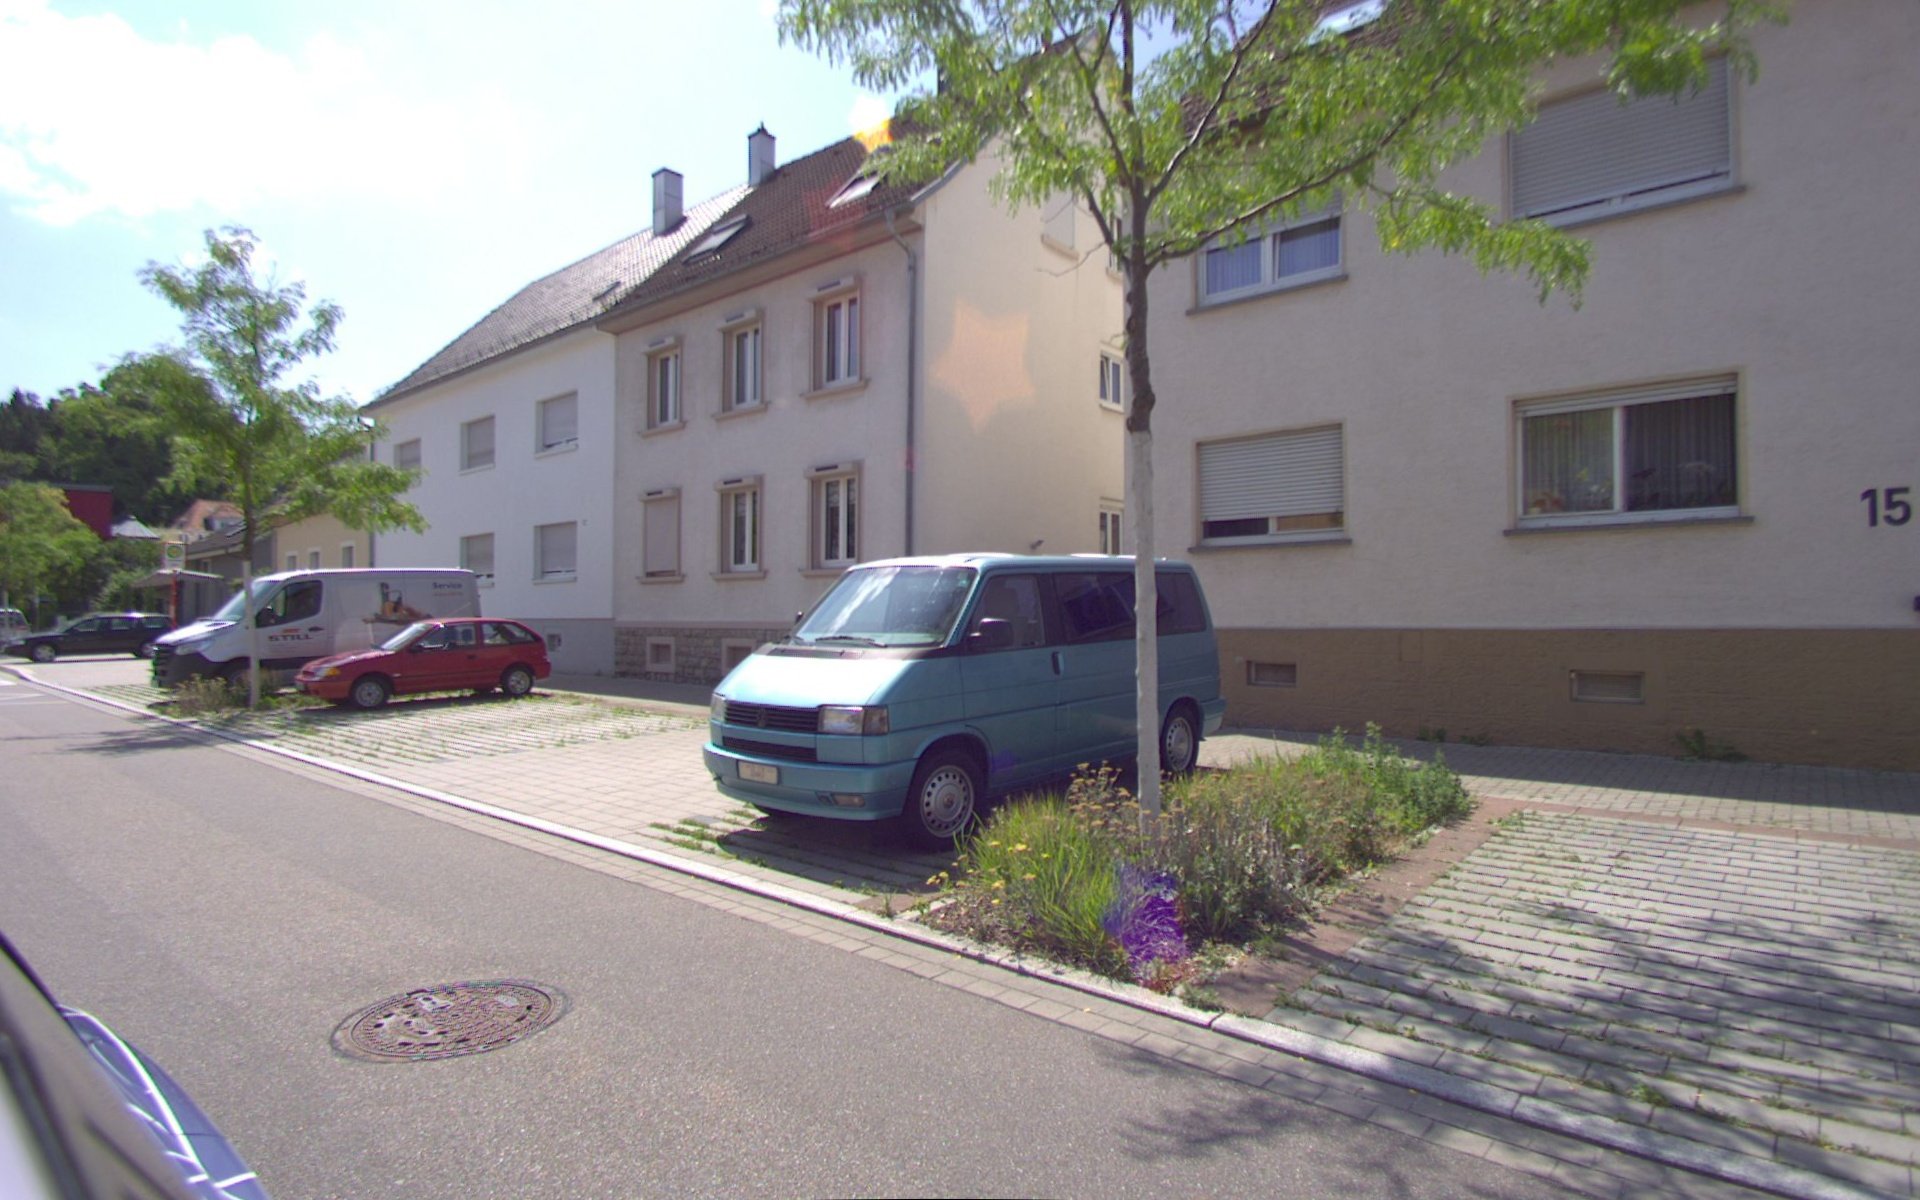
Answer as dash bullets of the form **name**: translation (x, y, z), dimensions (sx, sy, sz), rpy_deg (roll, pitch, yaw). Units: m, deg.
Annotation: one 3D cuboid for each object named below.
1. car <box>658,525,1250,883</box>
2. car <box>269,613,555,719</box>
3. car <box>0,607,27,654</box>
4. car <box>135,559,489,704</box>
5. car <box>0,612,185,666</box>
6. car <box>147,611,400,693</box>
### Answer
- **car**: translation (0.266, 0.504, 7.833), dimensions (1.999, 1.921, 4.628), rpy_deg (0, 1, 41)
- **car**: translation (-8.826, 0.968, 16.519), dimensions (1.725, 1.396, 3.743), rpy_deg (0, 1, 41)
- **car**: translation (-38.190, 1.233, 39.804), dimensions (4.685, 1.760, 1.819), rpy_deg (-2, 0, 43)
- **car**: translation (-11.832, 0.458, 18.830), dimensions (2.155, 2.305, 5.116), rpy_deg (-1, 1, 39)
- **car**: translation (-28.331, 1.229, 33.018), dimensions (1.900, 1.528, 4.539), rpy_deg (-1, 0, 41)
- **car**: translation (-13.994, 0.981, 20.807), dimensions (1.899, 1.456, 3.948), rpy_deg (-1, 0, 38)
